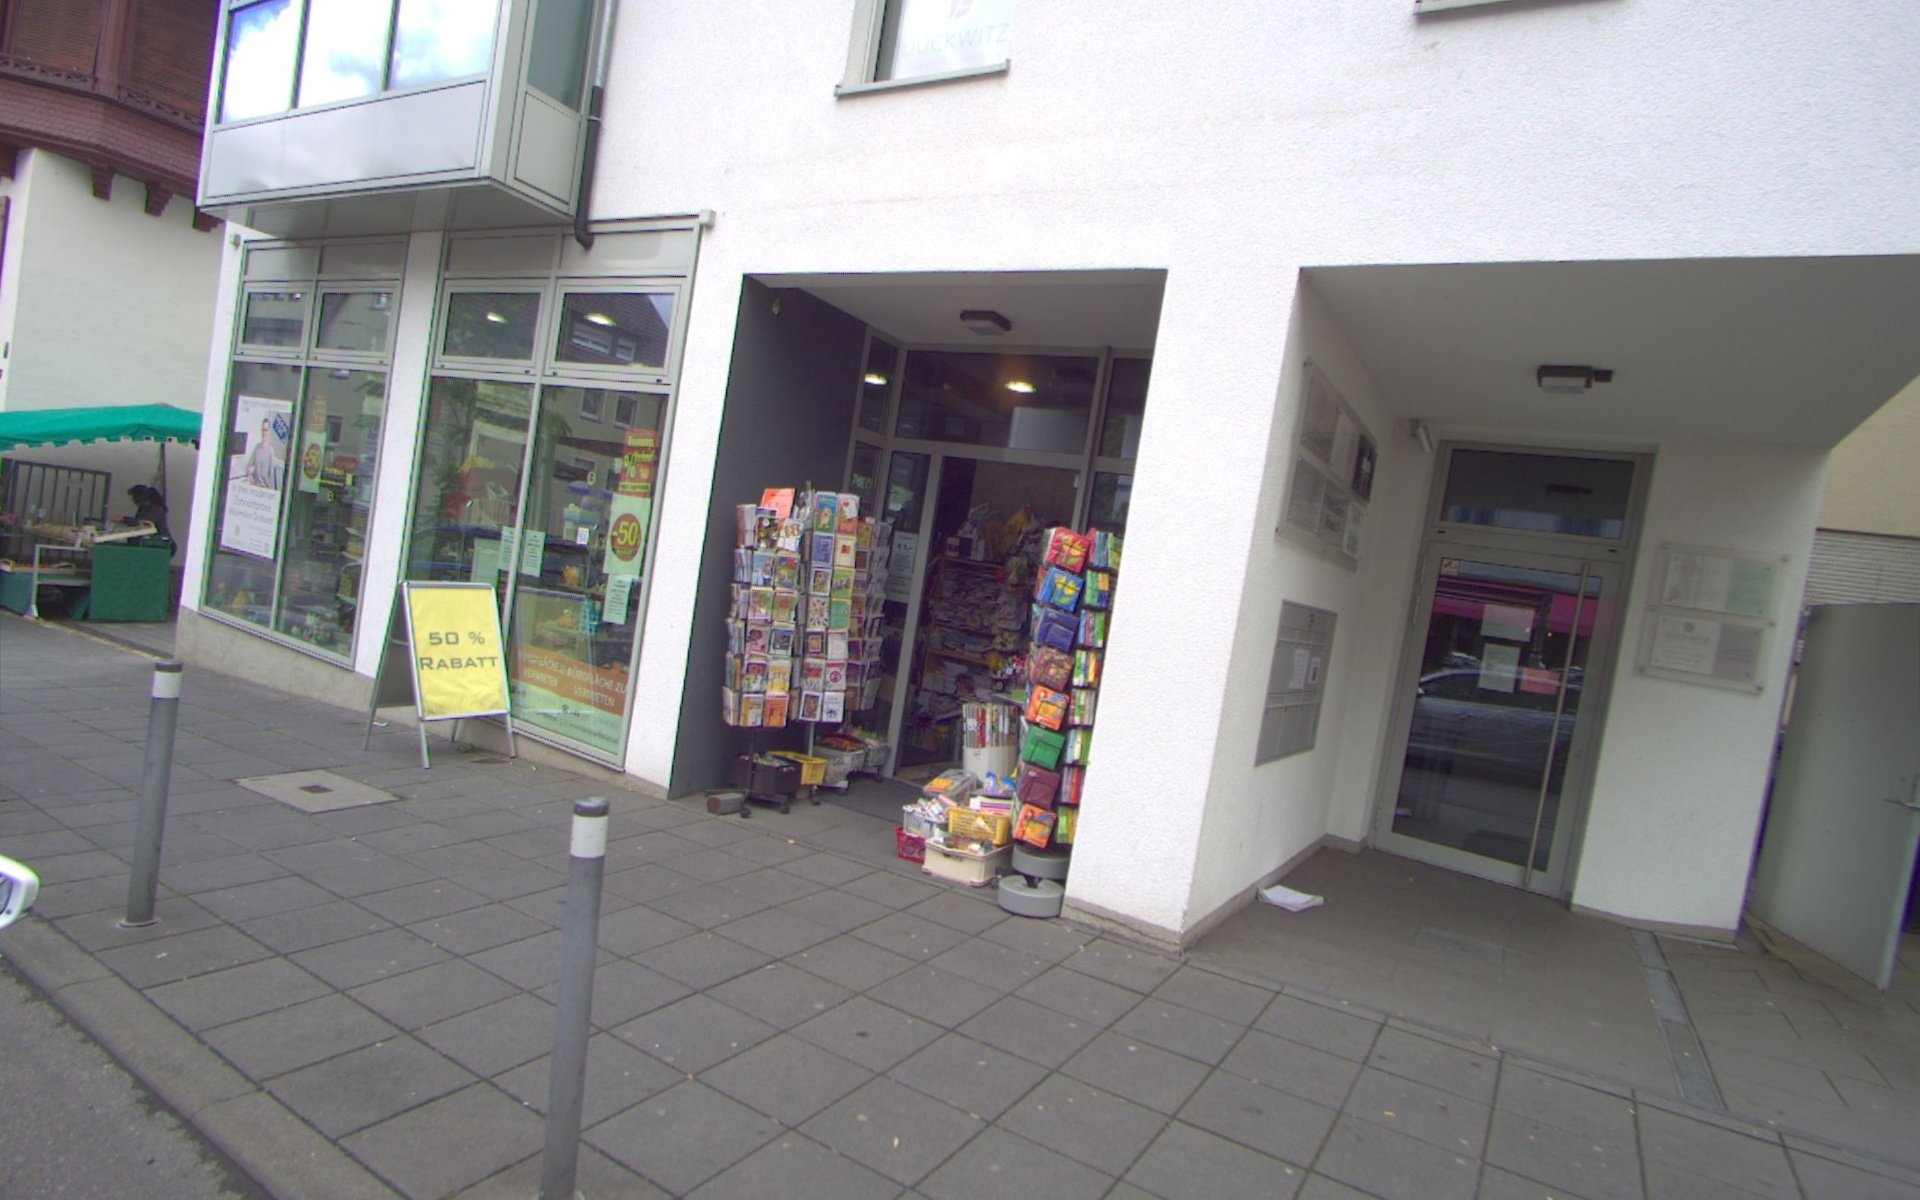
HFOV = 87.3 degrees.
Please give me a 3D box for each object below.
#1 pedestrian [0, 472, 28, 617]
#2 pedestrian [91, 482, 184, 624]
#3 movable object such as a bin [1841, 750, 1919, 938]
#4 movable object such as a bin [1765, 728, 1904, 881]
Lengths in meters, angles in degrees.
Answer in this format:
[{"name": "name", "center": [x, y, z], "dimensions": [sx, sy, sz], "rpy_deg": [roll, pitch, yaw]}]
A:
[{"name": "pedestrian", "center": [-11.228, -0.667, 11.507], "dimensions": [0.692, 1.633, 0.623], "rpy_deg": [7, 2, 36]}, {"name": "pedestrian", "center": [-10.040, -0.571, 12.283], "dimensions": [0.692, 1.633, 0.623], "rpy_deg": [7, 2, 36]}, {"name": "movable object such as a bin", "center": [6.223, 1.578, 6.440], "dimensions": [0.643, 1.072, 0.722], "rpy_deg": [7, 1, 30]}, {"name": "movable object such as a bin", "center": [7.309, 1.684, 8.450], "dimensions": [0.643, 1.072, 0.746], "rpy_deg": [7, 1, 30]}]
